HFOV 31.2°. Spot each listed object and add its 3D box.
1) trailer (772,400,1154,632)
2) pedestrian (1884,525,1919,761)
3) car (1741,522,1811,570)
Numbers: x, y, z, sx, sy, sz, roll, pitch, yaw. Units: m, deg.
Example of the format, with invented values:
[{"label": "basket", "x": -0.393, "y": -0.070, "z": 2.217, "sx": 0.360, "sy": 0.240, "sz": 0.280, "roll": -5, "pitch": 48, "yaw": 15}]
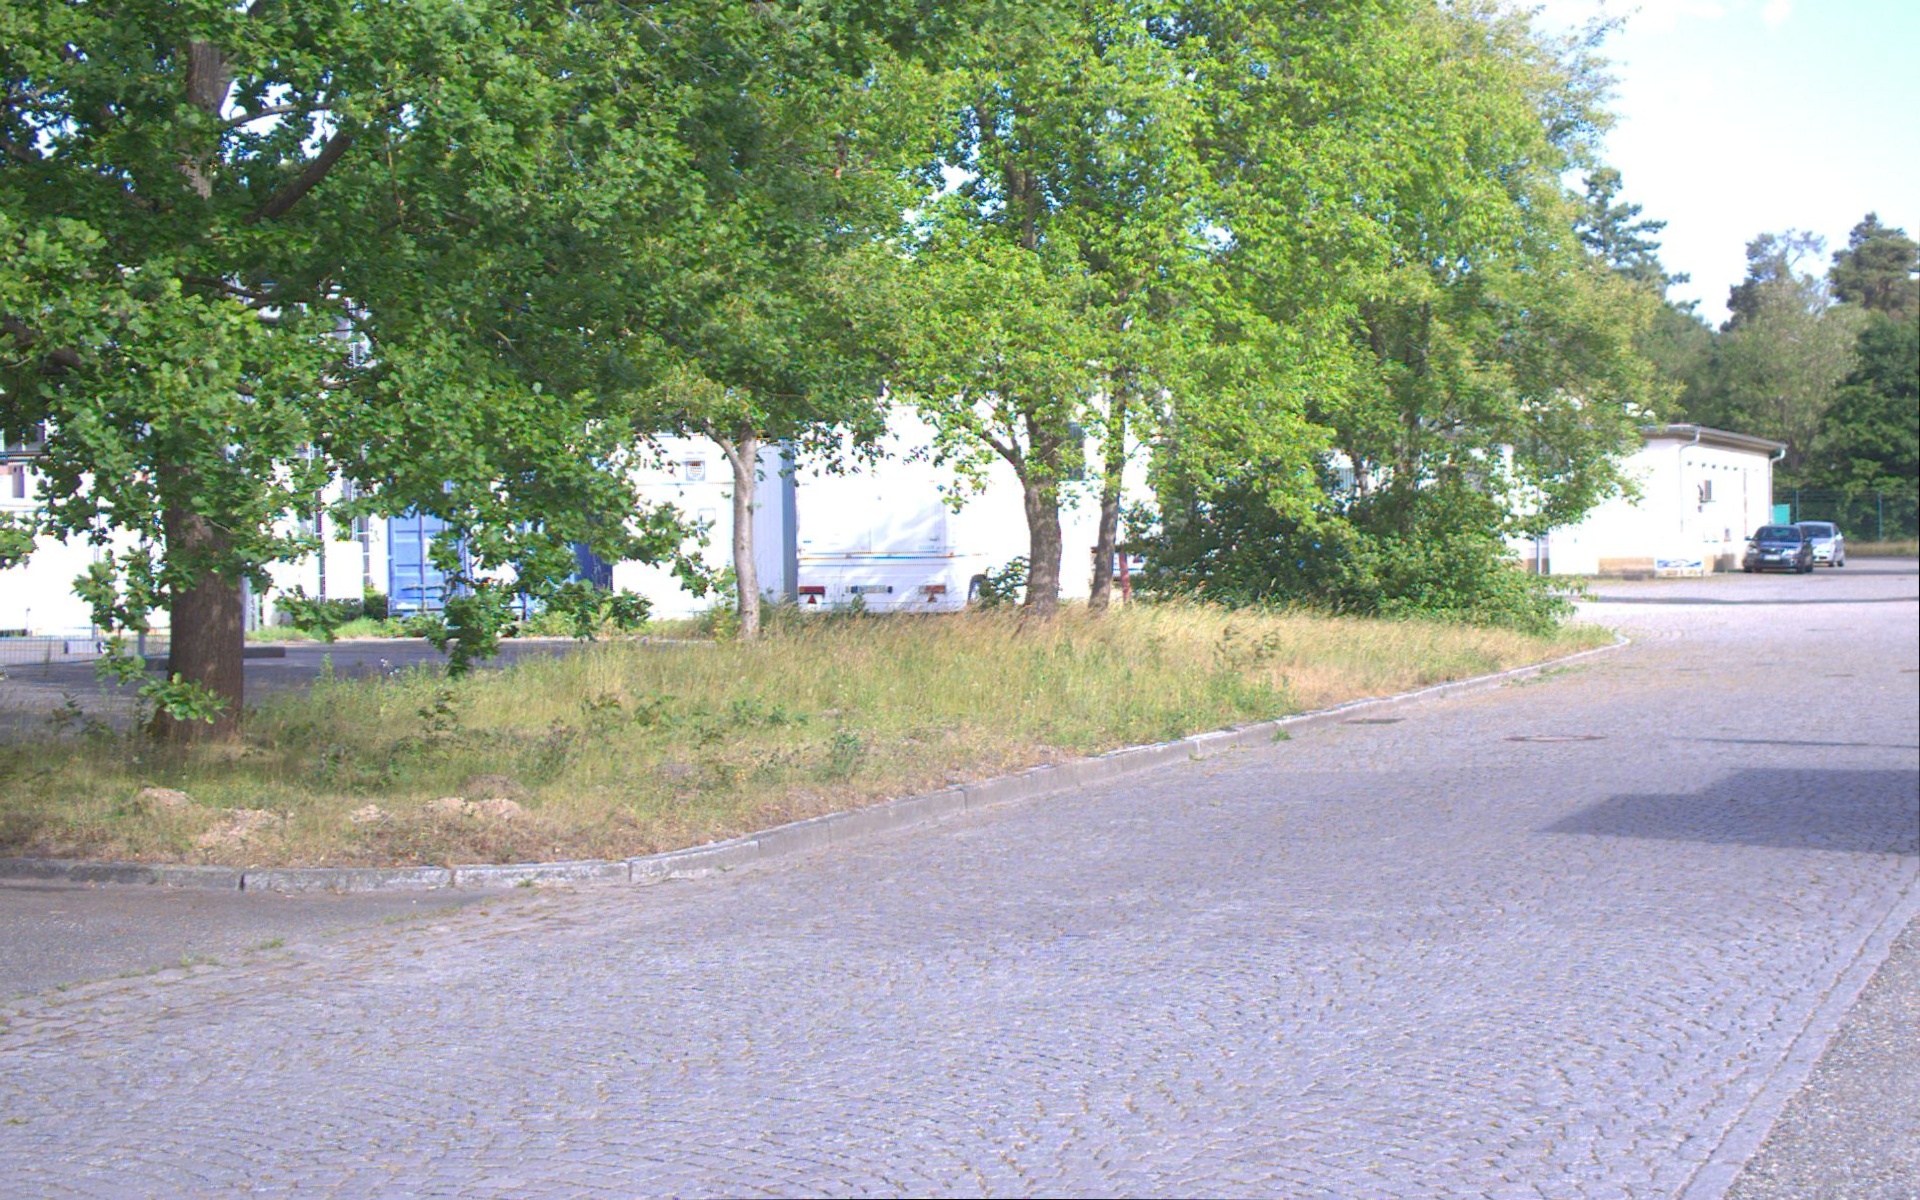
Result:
[{"label": "trailer", "x": 0.271, "y": -1.367, "z": 56.610, "sx": 2.920, "sy": 3.459, "sz": 9.891, "roll": 0, "pitch": 1, "yaw": 21}, {"label": "pedestrian", "x": 6.719, "y": 0.273, "z": 23.049, "sx": 0.866, "sy": 1.553, "sz": 1.027, "roll": 0, "pitch": 1, "yaw": 23}, {"label": "car", "x": 24.415, "y": -1.622, "z": 102.976, "sx": 1.995, "sy": 1.366, "sz": 3.998, "roll": -1, "pitch": 1, "yaw": 13}]
